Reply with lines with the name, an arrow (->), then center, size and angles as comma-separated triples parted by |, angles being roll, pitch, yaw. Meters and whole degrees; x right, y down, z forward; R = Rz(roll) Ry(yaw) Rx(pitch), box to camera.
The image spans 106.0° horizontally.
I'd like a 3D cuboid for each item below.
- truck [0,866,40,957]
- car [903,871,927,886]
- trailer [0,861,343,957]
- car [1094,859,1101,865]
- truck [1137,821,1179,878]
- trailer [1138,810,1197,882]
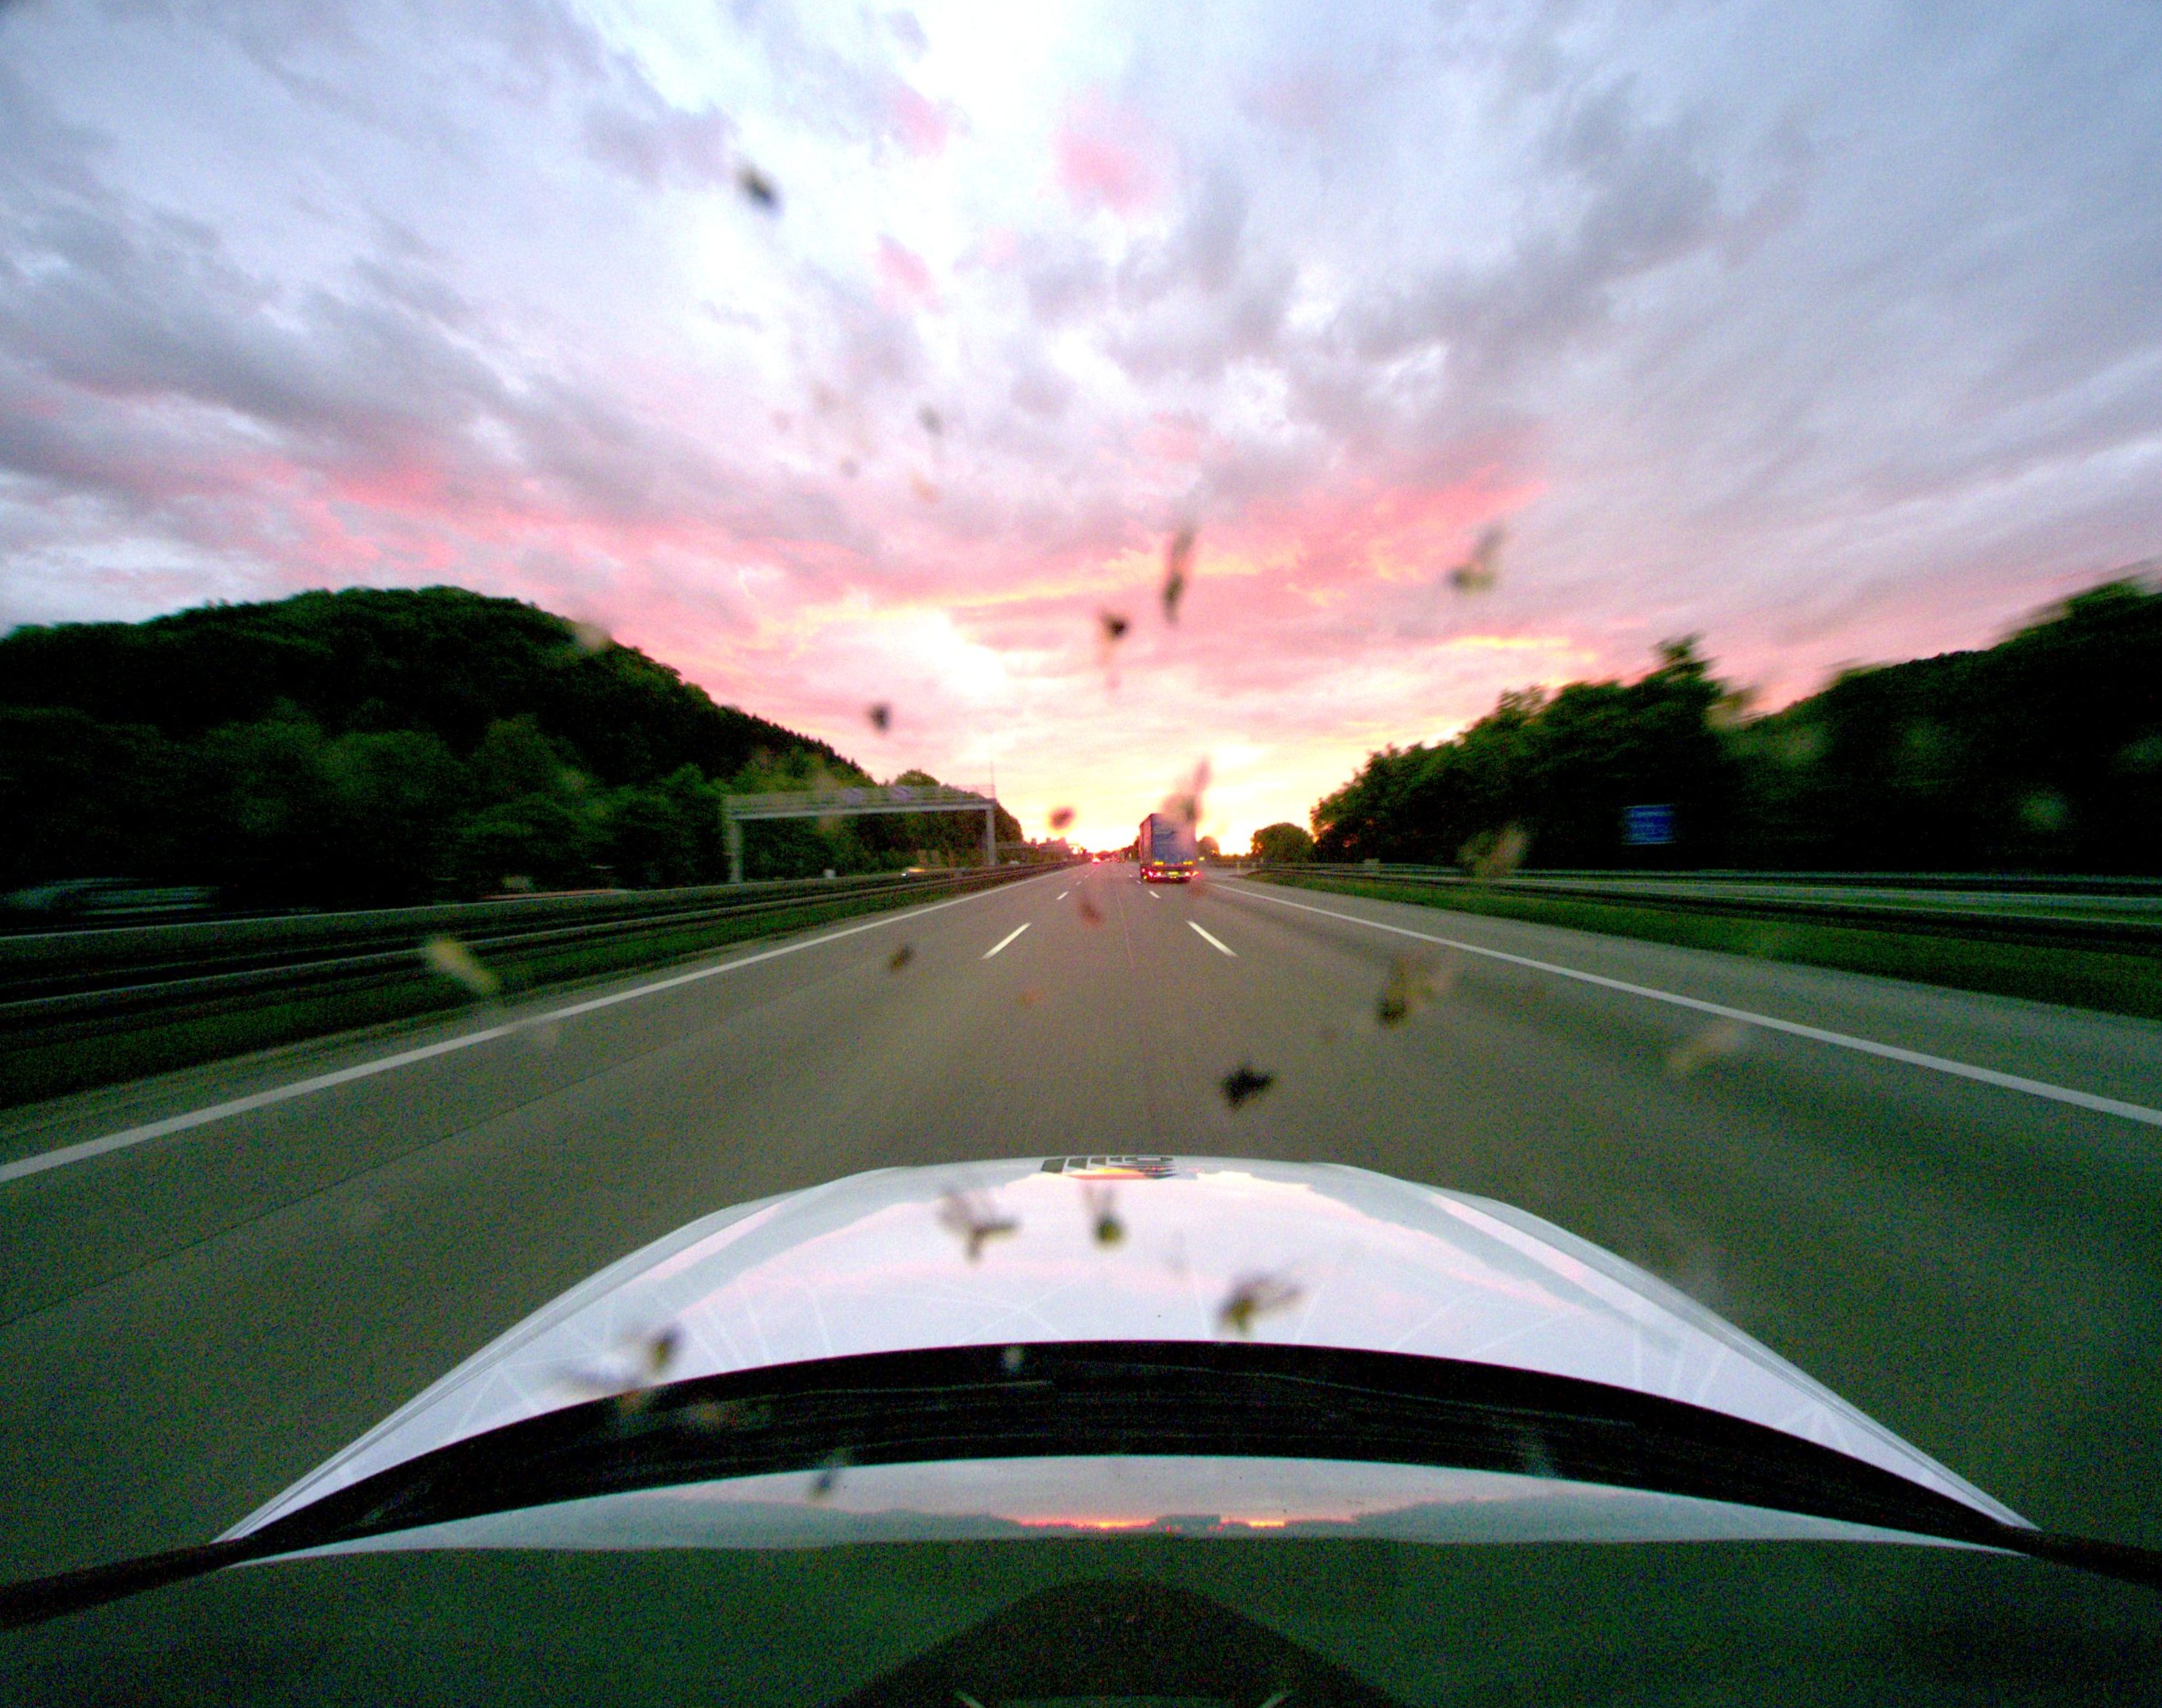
truck -> -46.937, 2.434, 31.622 | 2.975, 3.679, 7.727 | -1, 0, 32
car -> -17.323, 2.561, 85.223 | 1.635, 1.421, 3.537 | -1, 0, 2
trailer -> -43.249, 2.326, 37.461 | 3.032, 3.679, 13.428 | -1, 0, 32
car -> 4.900, 2.430, 246.729 | 2.006, 1.749, 3.904 | -5, 0, 1
truck -> 5.645, -0.270, 60.661 | 2.726, 3.996, 5.851 | -1, -1, 1
trailer -> 5.413, -0.396, 53.304 | 2.761, 4.086, 13.743 | -1, 0, 2
